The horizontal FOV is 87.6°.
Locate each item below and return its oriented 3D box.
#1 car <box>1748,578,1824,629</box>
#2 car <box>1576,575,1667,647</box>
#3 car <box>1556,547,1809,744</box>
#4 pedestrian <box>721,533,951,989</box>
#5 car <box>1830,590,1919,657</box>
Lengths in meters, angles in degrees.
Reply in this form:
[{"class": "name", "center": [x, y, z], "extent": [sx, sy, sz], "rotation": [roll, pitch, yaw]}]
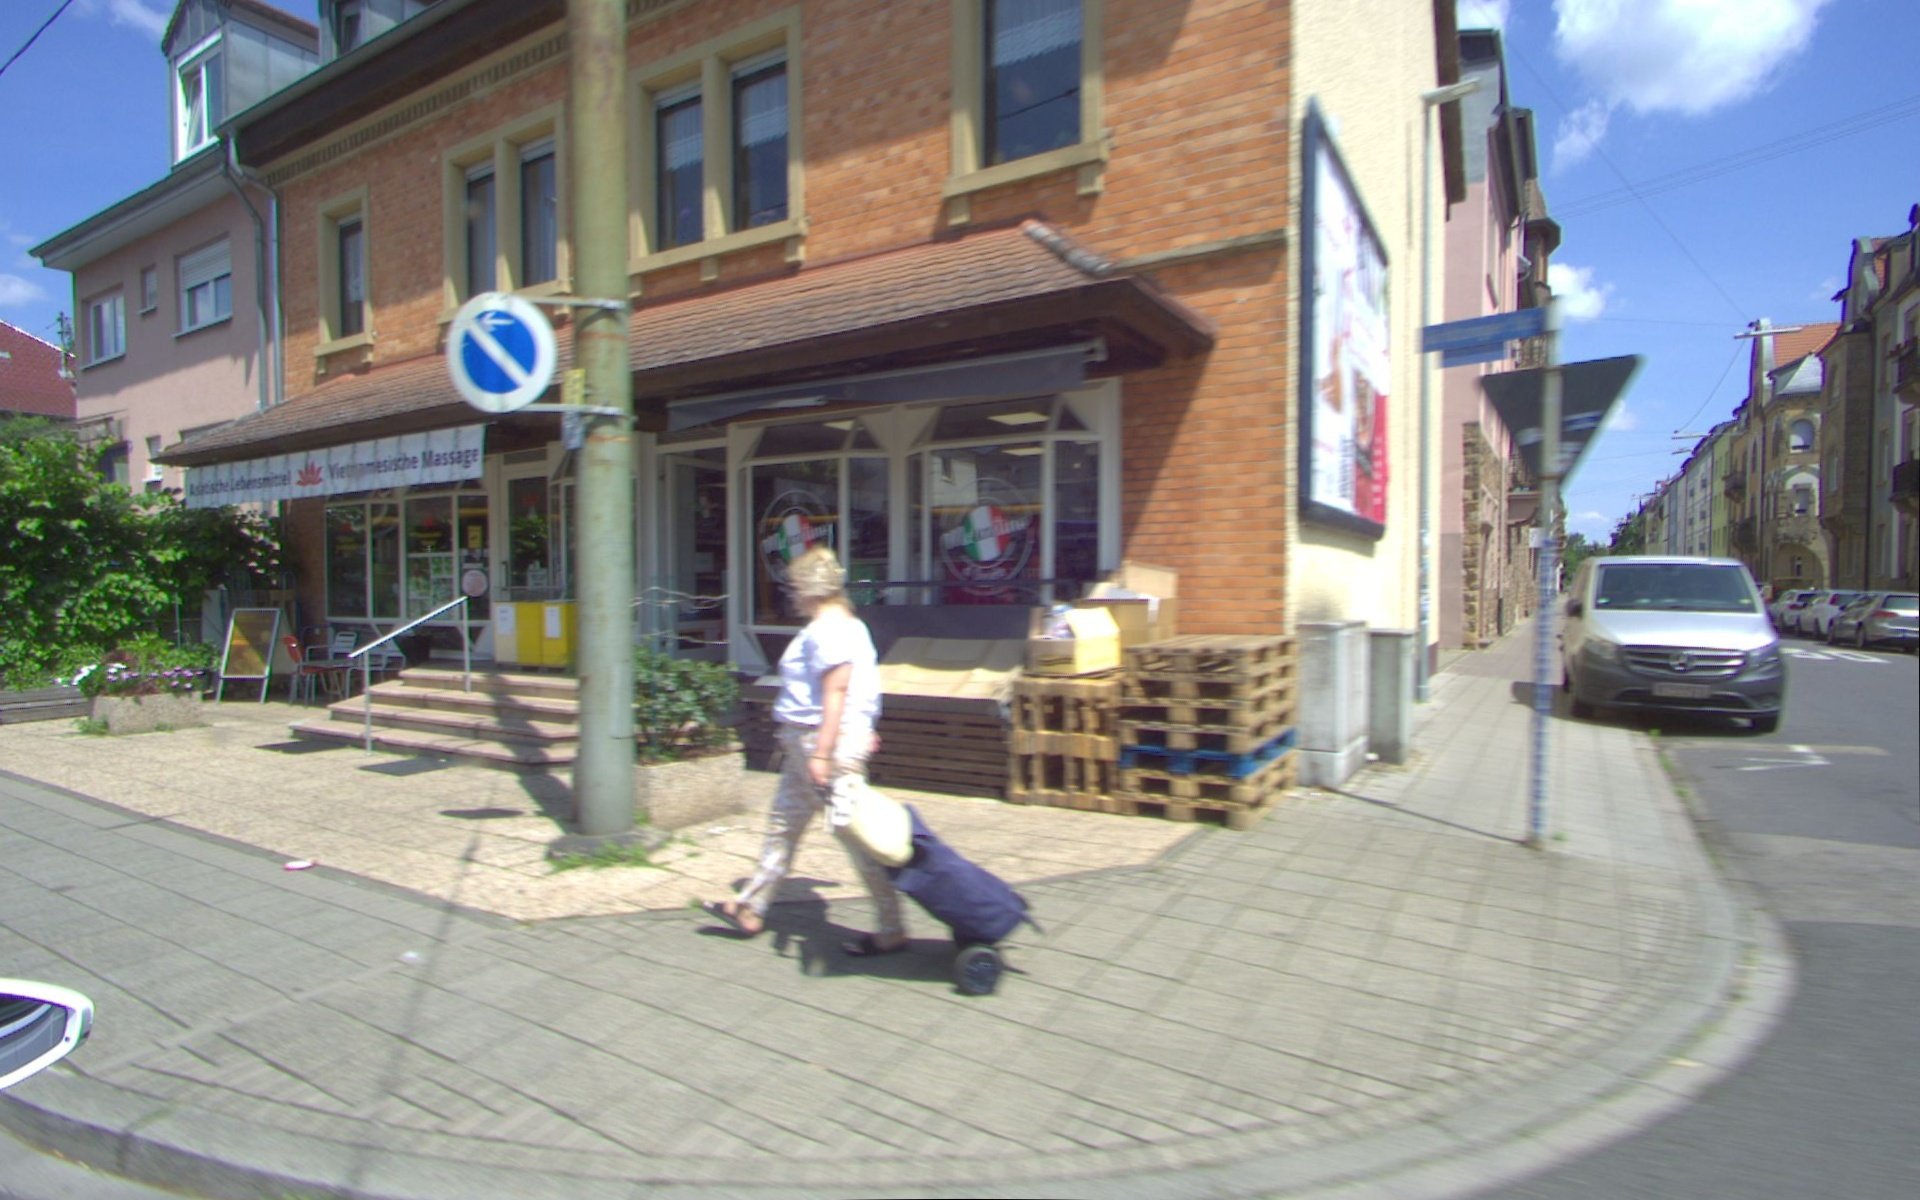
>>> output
[{"class": "car", "center": [30.345, 0.181, 36.882], "extent": [1.627, 1.724, 3.980], "rotation": [-1, -2, 32]}, {"class": "car", "center": [15.336, 0.311, 23.348], "extent": [1.627, 1.527, 3.980], "rotation": [-1, -2, 32]}, {"class": "car", "center": [8.509, 0.432, 12.259], "extent": [1.879, 1.886, 5.048], "rotation": [-1, 0, 29]}, {"class": "pedestrian", "center": [-0.514, 0.577, 4.096], "extent": [0.698, 1.664, 0.654], "rotation": [-2, 3, -37]}, {"class": "car", "center": [22.808, 0.592, 24.529], "extent": [1.627, 1.527, 3.980], "rotation": [-1, -2, 32]}]
